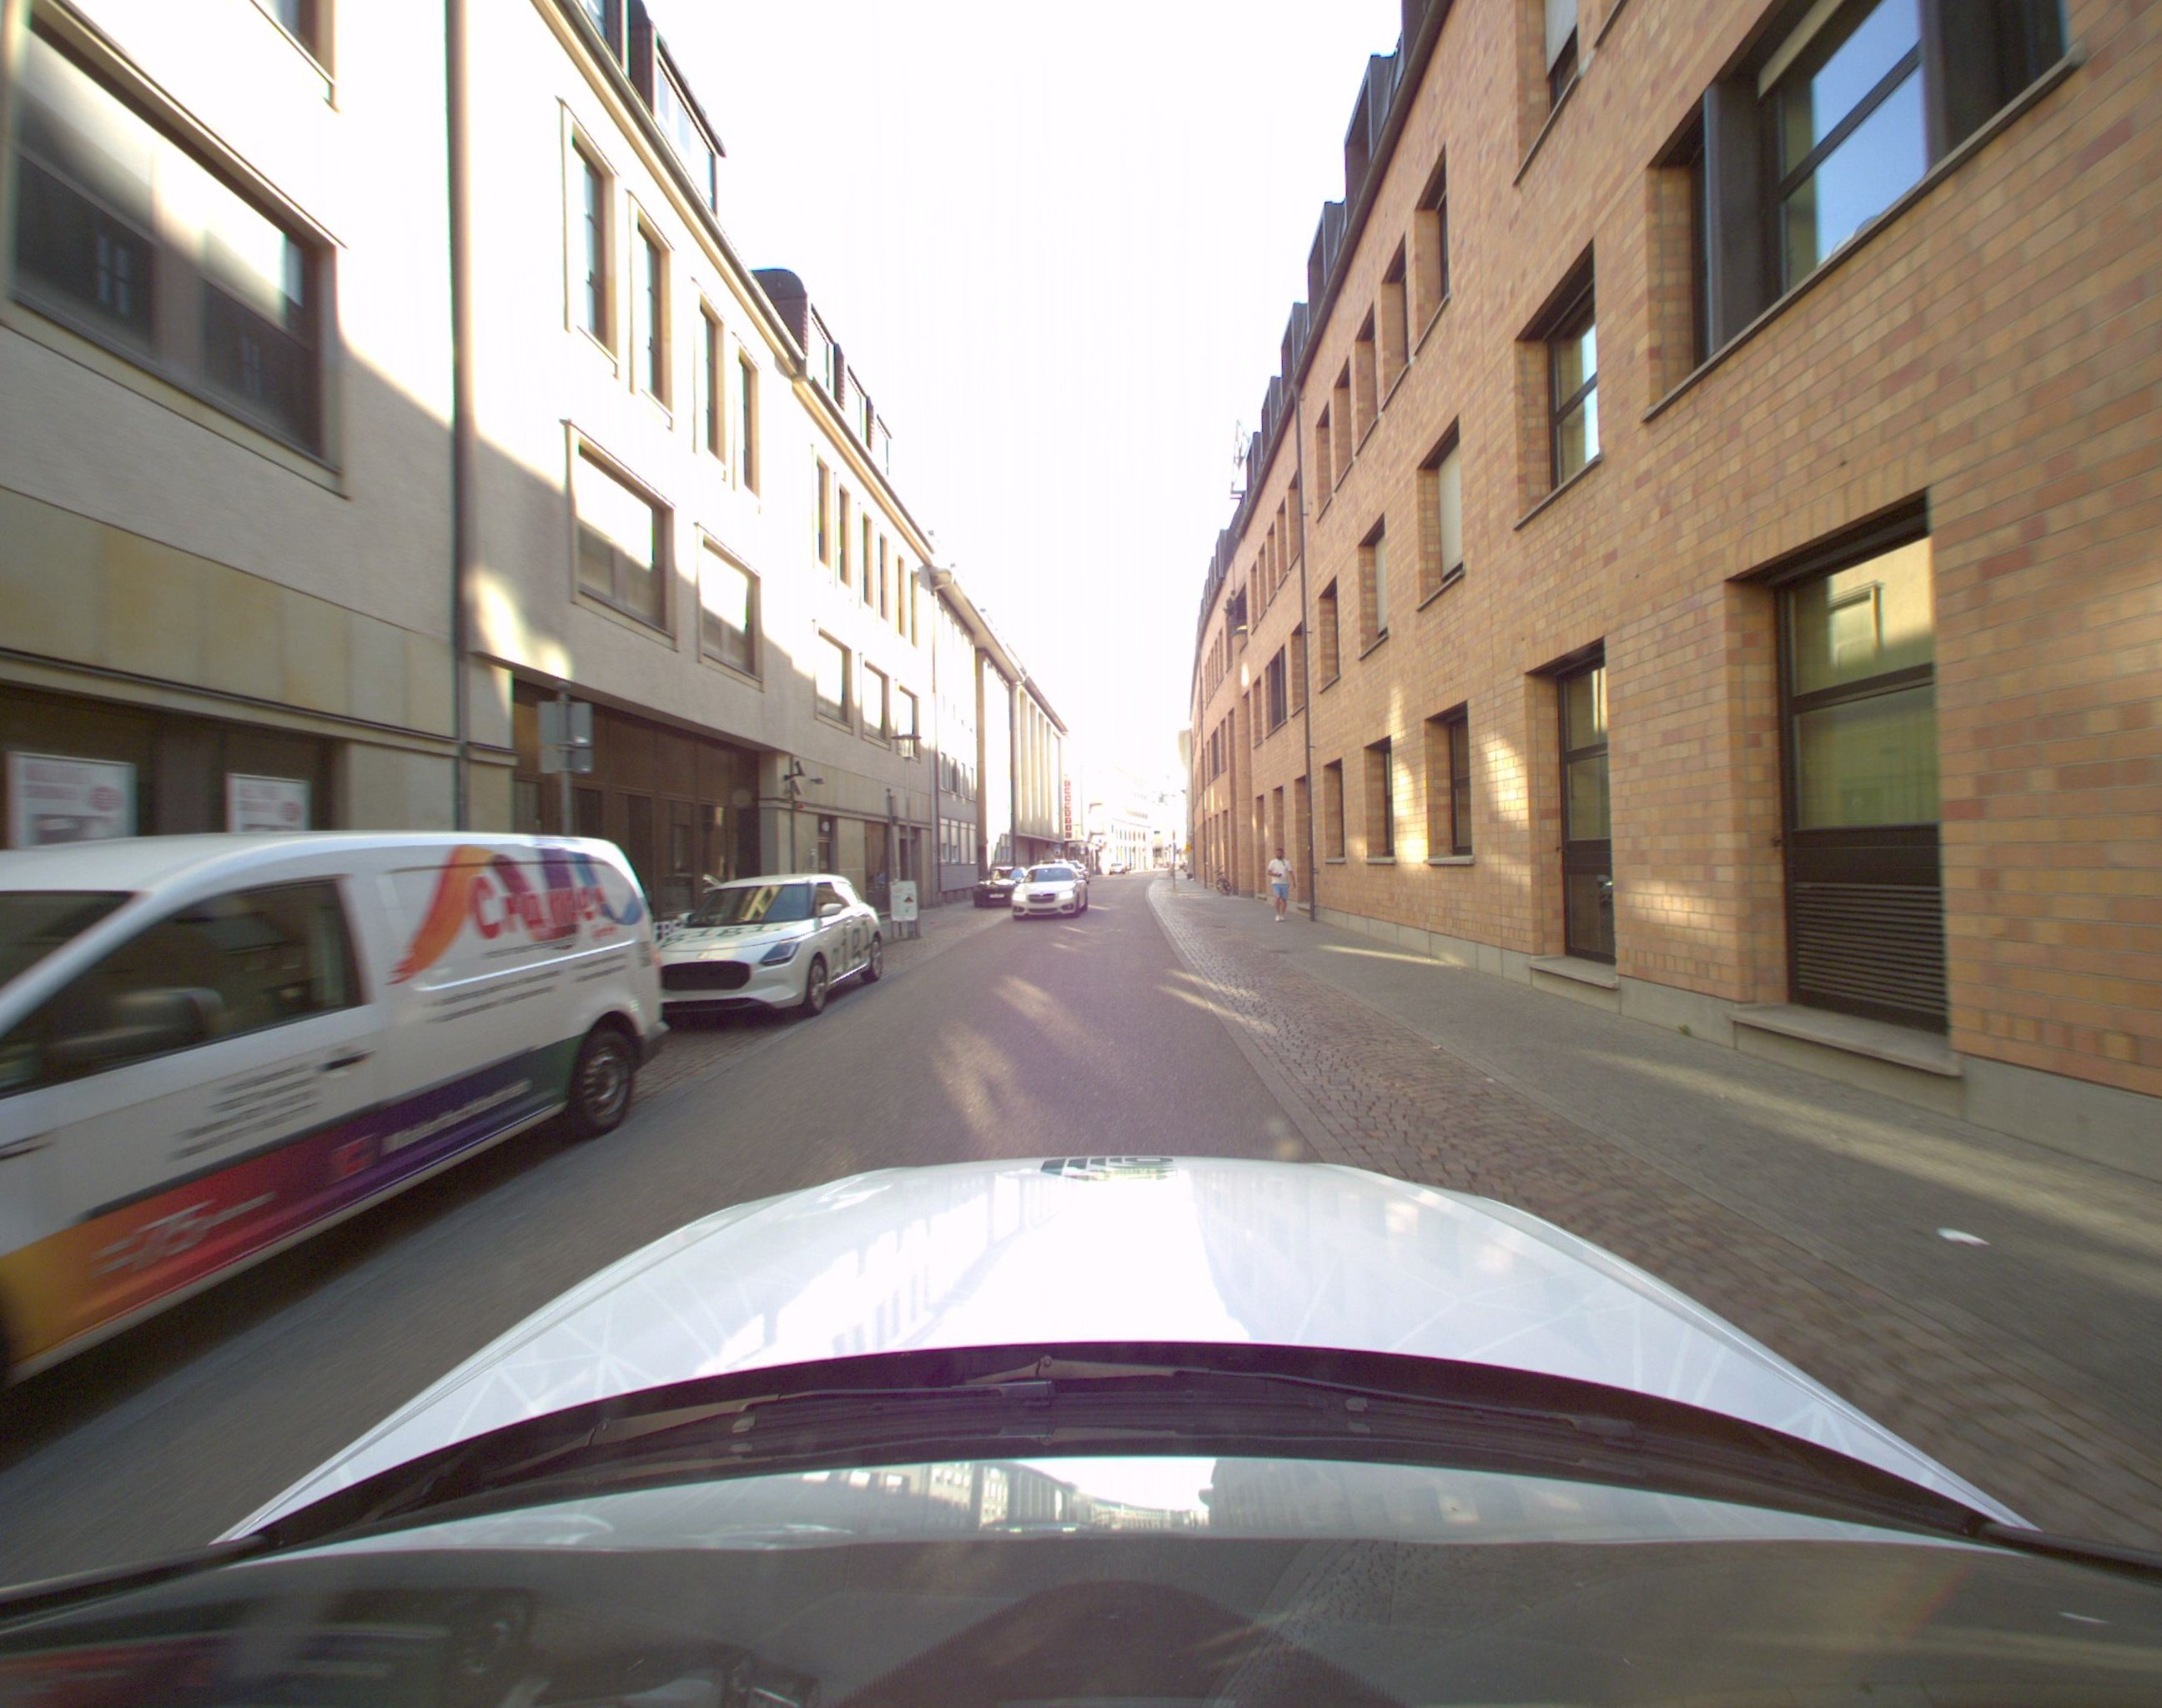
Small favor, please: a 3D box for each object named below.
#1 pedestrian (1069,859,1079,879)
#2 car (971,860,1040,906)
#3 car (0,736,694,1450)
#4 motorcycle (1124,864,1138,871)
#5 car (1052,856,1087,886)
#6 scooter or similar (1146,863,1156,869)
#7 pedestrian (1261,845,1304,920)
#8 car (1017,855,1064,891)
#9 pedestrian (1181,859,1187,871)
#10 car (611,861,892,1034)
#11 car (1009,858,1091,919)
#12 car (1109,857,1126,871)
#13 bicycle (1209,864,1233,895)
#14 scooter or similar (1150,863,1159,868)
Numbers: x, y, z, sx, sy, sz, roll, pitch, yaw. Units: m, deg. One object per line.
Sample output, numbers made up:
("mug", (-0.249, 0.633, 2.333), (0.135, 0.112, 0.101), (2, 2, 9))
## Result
("pedestrian", (-0.588, 1.194, 65.946), (0.649, 1.625, 0.452), (0, -1, -36))
("car", (-2.735, 1.029, 30.404), (1.882, 1.530, 4.731), (-1, 0, 2))
("car", (-3.766, 0.662, 3.433), (1.893, 1.857, 4.733), (-3, 0, 0))
("motorcycle", (6.377, 1.740, 103.145), (1.680, 0.859, 0.596), (1, -1, 10))
("car", (-0.667, 1.021, 50.133), (1.882, 1.742, 4.393), (-1, 0, 2))
("scooter or similar", (11.780, 1.976, 137.444), (0.520, 0.928, 2.242), (0, 0, 36))
("pedestrian", (4.801, 0.660, 19.464), (0.757, 1.716, 0.822), (-3, -1, 2))
("car", (-2.008, 0.929, 41.588), (1.882, 1.676, 4.556), (-1, 0, 2))
("pedestrian", (16.211, 1.746, 127.927), (0.662, 1.869, 0.780), (2, -2, -24))
("car", (-3.543, 0.892, 9.563), (1.664, 1.522, 3.775), (-3, 0, 0))
("car", (-0.780, 0.885, 22.861), (1.706, 1.517, 4.166), (-1, 0, 5))
("car", (4.331, 1.183, 95.579), (1.727, 1.606, 3.539), (0, 0, 7))
("bicycle", (5.495, 0.984, 32.005), (0.548, 1.103, 1.982), (-4, 0, 0))
("scooter or similar", (12.756, 1.947, 141.122), (0.520, 0.928, 2.242), (0, 0, 36))
